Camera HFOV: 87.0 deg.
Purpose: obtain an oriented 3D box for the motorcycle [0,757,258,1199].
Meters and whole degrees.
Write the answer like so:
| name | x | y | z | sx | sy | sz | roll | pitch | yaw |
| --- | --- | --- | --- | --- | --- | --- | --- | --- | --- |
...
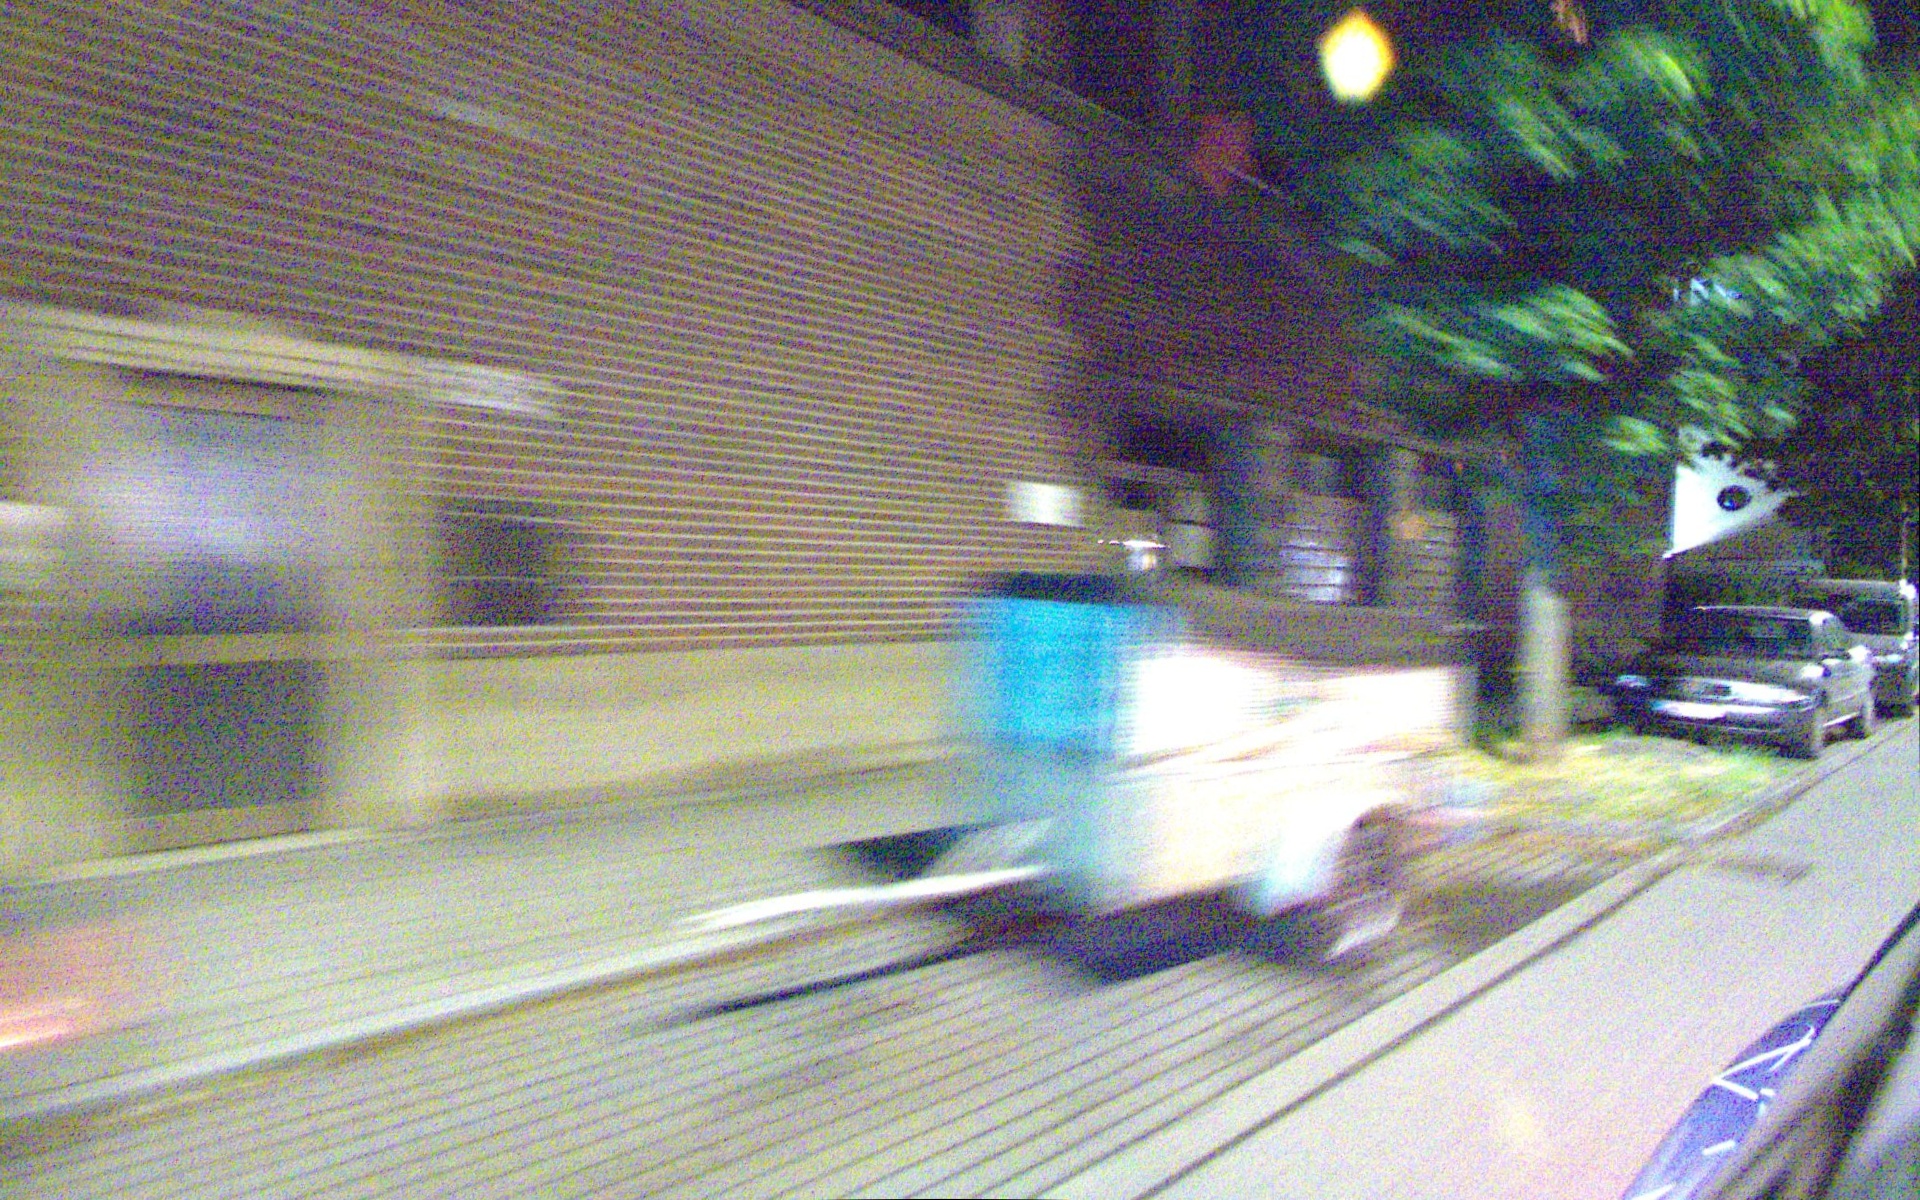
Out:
| name | x | y | z | sx | sy | sz | roll | pitch | yaw |
| --- | --- | --- | --- | --- | --- | --- | --- | --- | --- |
| motorcycle | -2.169 | 0.817 | 1.140 | 2.183 | 1.145 | 0.730 | 1 | 1 | -6 |

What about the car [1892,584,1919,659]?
| name | x | y | z | sx | sy | sz | roll | pitch | yaw |
| --- | --- | --- | --- | --- | --- | --- | --- | --- | --- |
| car | 23.489 | 0.515 | 23.803 | 3.709 | 1.685 | 1.932 | 0 | 3 | -43 |

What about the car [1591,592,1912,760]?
| name | x | y | z | sx | sy | sz | roll | pitch | yaw |
| --- | --- | --- | --- | --- | --- | --- | --- | --- | --- |
| car | 8.631 | 0.660 | 10.899 | 4.343 | 1.375 | 1.781 | 0 | 3 | -40 |

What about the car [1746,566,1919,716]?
| name | x | y | z | sx | sy | sz | roll | pitch | yaw |
| --- | --- | --- | --- | --- | --- | --- | --- | --- | --- |
| car | 12.934 | 0.477 | 14.634 | 4.349 | 1.794 | 1.778 | 0 | 3 | -44 |

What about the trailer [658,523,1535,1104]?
| name | x | y | z | sx | sy | sz | roll | pitch | yaw |
| --- | --- | --- | --- | --- | --- | --- | --- | --- | --- |
| trailer | 0.774 | 0.536 | 4.368 | 3.663 | 1.514 | 1.606 | 0 | 1 | -36 |
